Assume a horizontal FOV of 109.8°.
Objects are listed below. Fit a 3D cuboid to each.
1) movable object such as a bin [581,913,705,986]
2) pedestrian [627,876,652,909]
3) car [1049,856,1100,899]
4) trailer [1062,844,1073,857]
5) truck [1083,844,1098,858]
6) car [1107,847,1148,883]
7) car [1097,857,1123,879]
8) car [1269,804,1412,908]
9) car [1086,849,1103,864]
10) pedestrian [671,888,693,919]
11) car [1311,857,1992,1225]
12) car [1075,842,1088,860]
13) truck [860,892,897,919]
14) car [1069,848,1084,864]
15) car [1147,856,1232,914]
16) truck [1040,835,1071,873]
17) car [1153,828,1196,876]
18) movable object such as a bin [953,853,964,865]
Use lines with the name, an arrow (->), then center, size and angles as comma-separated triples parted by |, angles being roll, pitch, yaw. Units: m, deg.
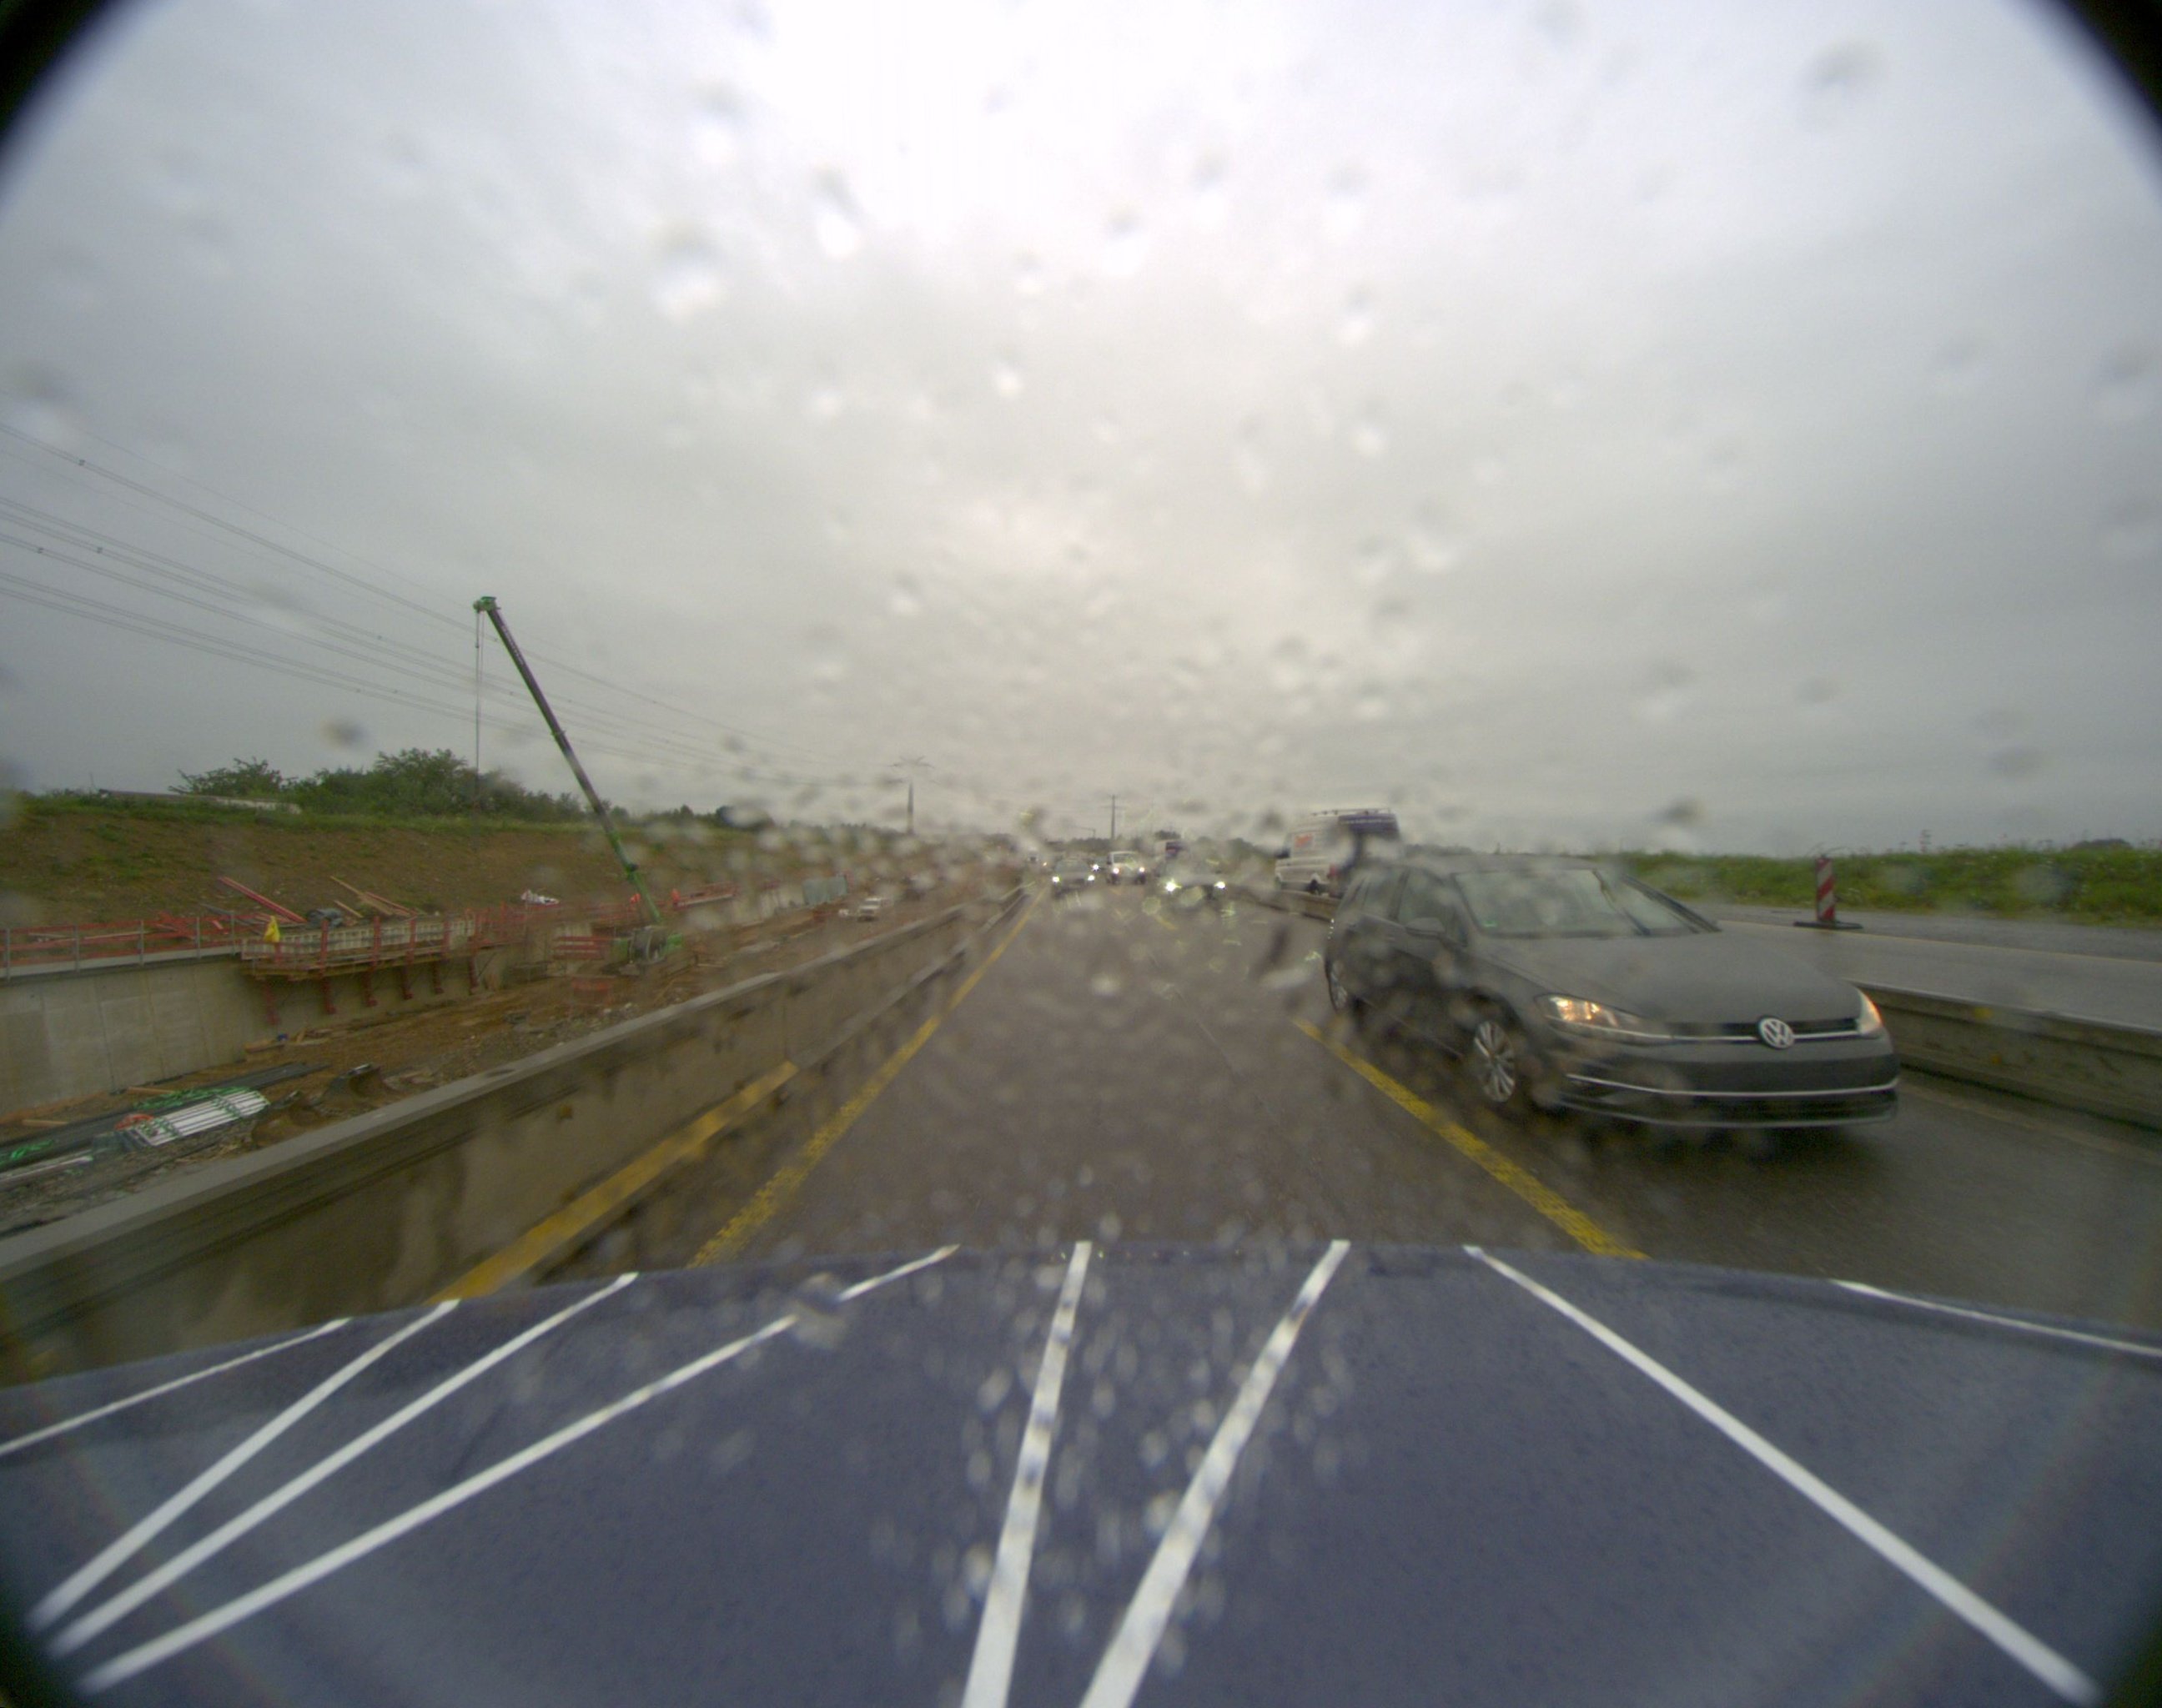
movable object such as a bin -> -23.500, 5.071, 41.130 | 3.803, 2.790, 4.849 | -2, 6, -2
pedestrian -> -32.357, 2.826, 55.698 | 0.918, 2.233, 1.005 | -7, 2, -5
car -> -0.192, 0.917, 31.597 | 1.799, 1.524, 4.308 | -3, 0, 3
trailer -> -4.560, -1.226, 258.329 | 2.794, 4.176, 13.667 | -2, 0, -5
truck -> 2.010, -0.618, 158.042 | 2.366, 2.877, 6.543 | -1, 1, -6
car -> 2.646, 0.592, 44.500 | 2.160, 1.848, 5.179 | -3, 1, 2
car -> 2.276, 1.122, 60.578 | 1.800, 1.521, 4.066 | -3, 1, 0
car -> 7.160, 0.053, 21.787 | 2.029, 2.533, 5.958 | -1, 0, 0
car -> 1.754, 0.308, 99.949 | 1.999, 1.774, 4.836 | -3, 0, -1
pedestrian -> -30.833, 3.834, 58.729 | 0.917, 2.219, 1.006 | -7, 2, 2
car -> 3.023, 0.805, 5.236 | 1.653, 1.414, 4.080 | -2, 1, 1
car -> 0.025, -0.537, 138.808 | 1.999, 3.028, 7.169 | -3, 0, -2
truck -> -17.712, 4.460, 66.672 | 1.767, 1.860, 5.785 | -1, 1, -1
car -> -0.558, 0.251, 96.536 | 1.800, 1.850, 4.286 | -3, 1, -1
car -> 3.089, 0.833, 22.451 | 1.800, 1.389, 4.268 | -3, 1, -1
truck -> -2.592, -0.064, 78.299 | 2.837, 3.617, 9.117 | -3, 1, -2
car -> 6.270, -0.103, 51.768 | 1.999, 2.995, 5.779 | -3, 0, -1
movable object such as a bin -> -30.884, 1.277, 191.580 | 2.252, 2.703, 3.998 | -3, 1, -5
